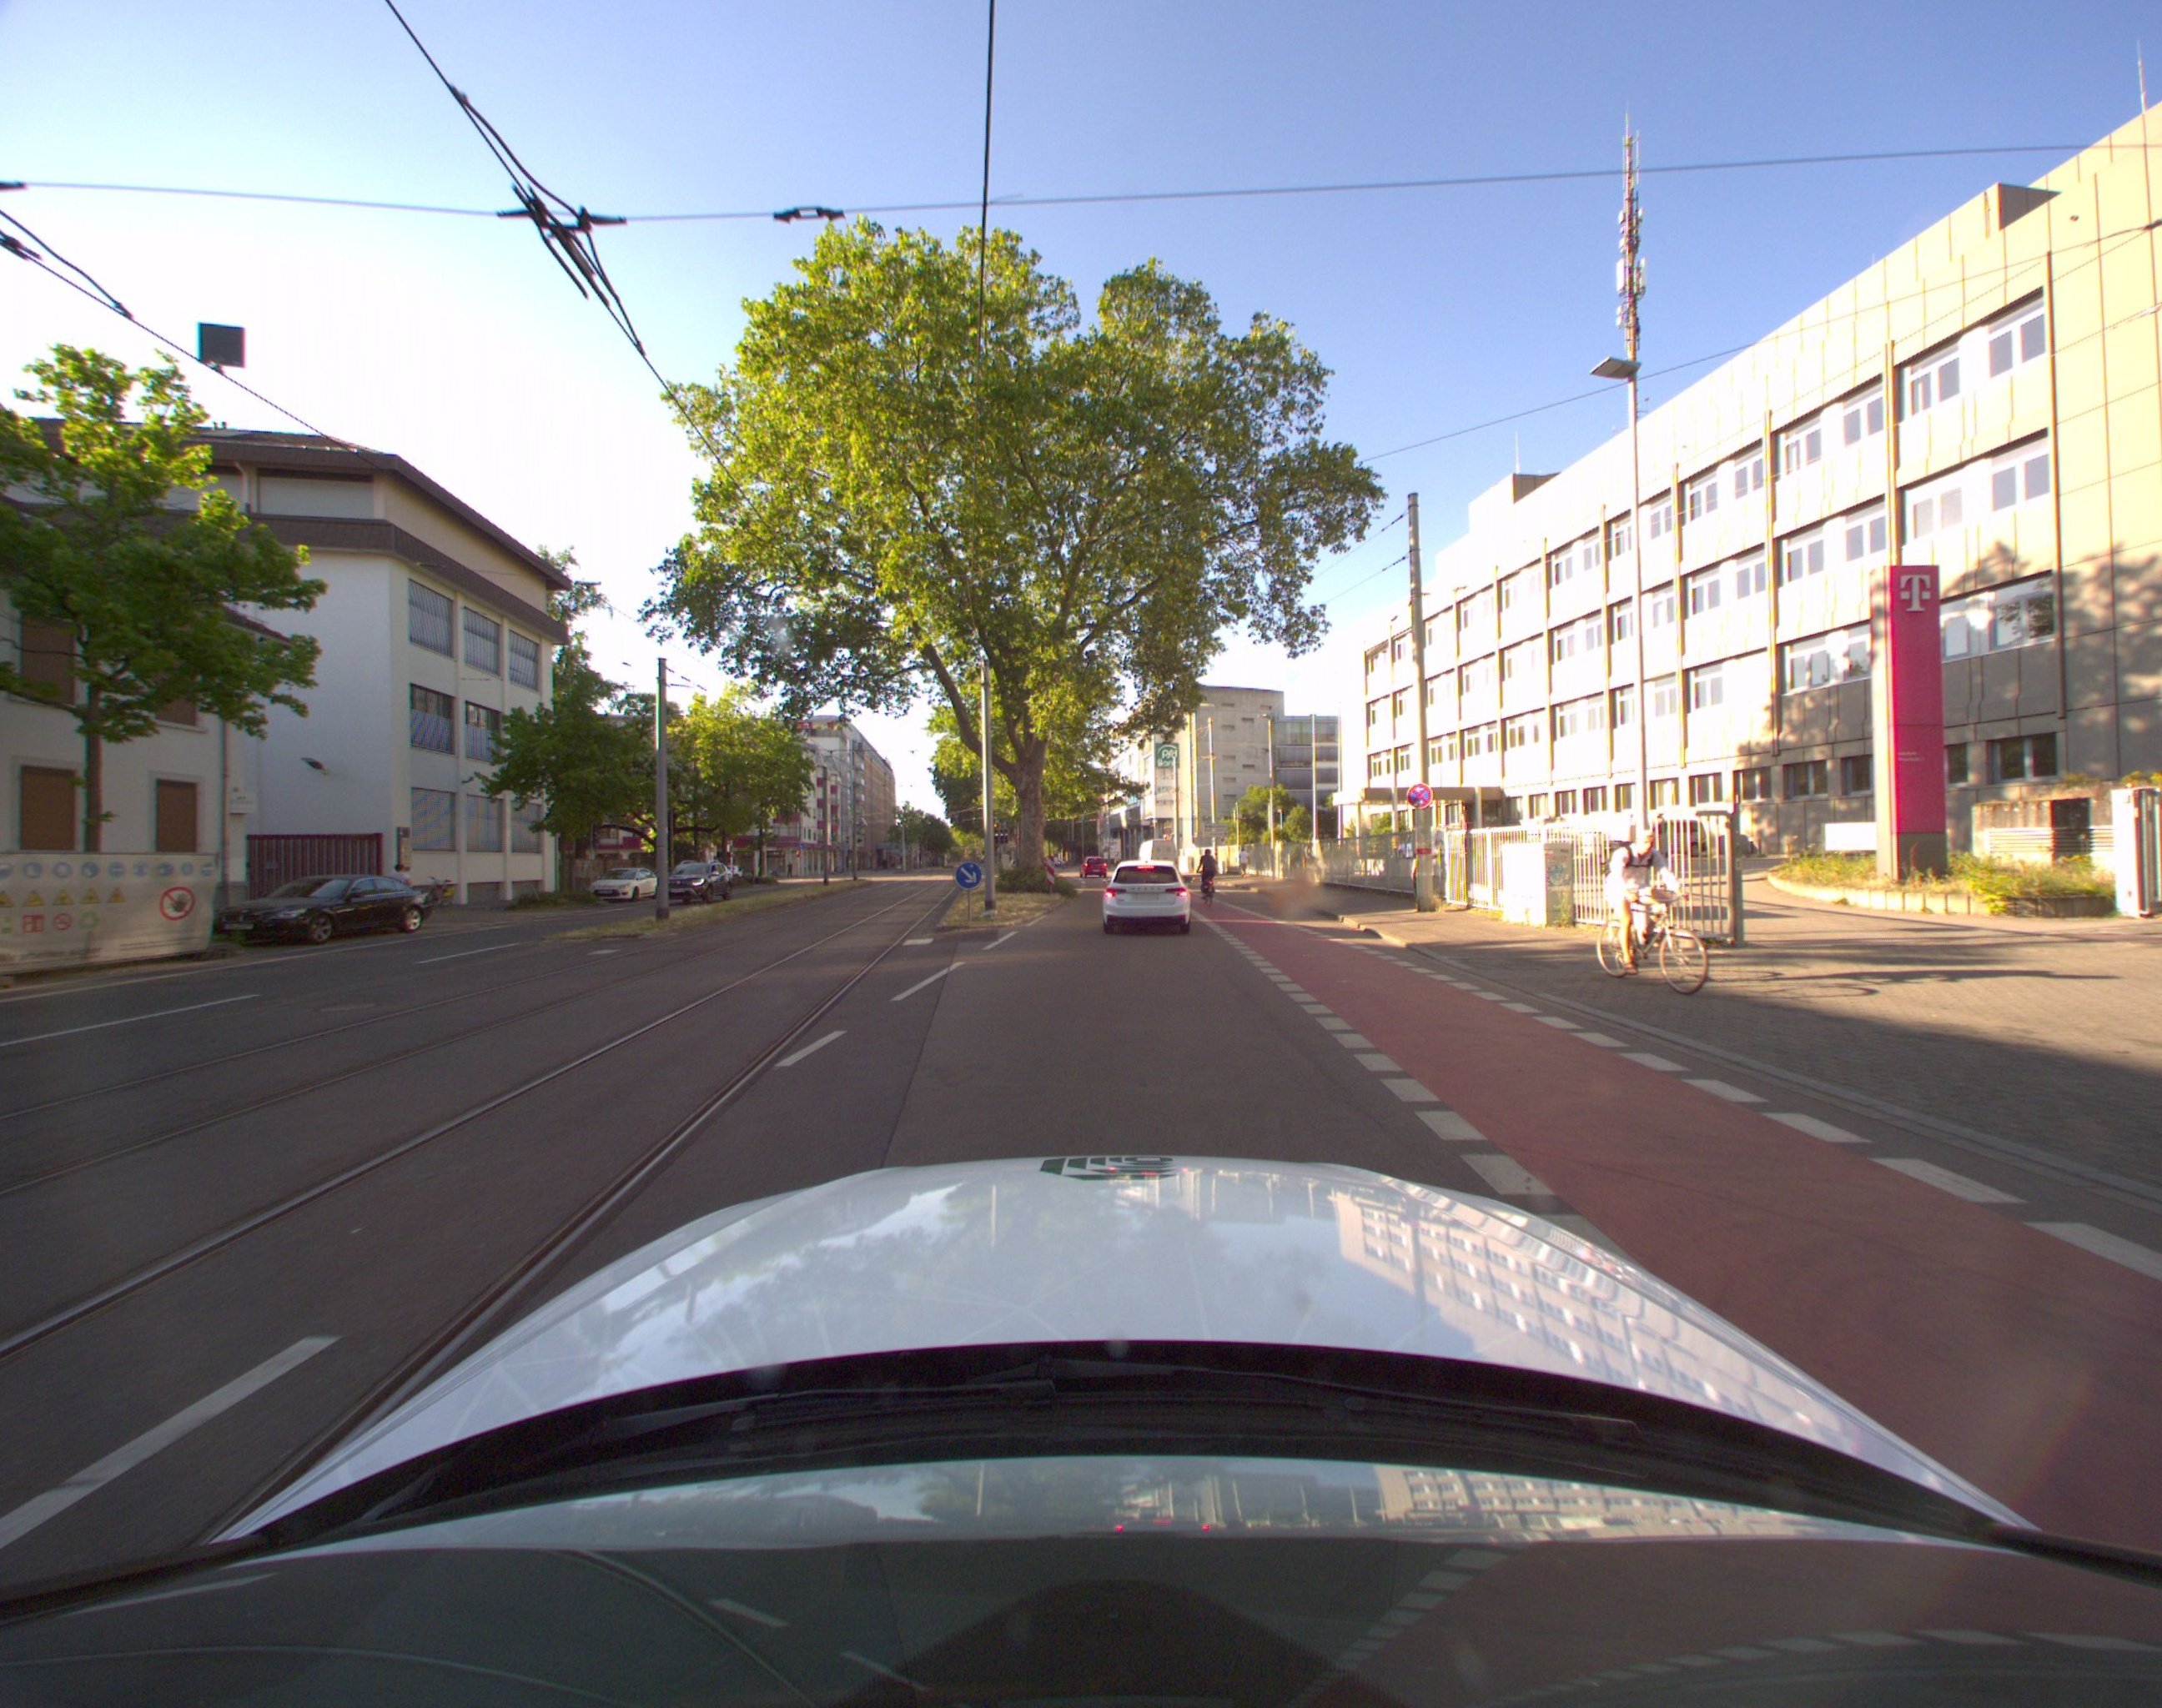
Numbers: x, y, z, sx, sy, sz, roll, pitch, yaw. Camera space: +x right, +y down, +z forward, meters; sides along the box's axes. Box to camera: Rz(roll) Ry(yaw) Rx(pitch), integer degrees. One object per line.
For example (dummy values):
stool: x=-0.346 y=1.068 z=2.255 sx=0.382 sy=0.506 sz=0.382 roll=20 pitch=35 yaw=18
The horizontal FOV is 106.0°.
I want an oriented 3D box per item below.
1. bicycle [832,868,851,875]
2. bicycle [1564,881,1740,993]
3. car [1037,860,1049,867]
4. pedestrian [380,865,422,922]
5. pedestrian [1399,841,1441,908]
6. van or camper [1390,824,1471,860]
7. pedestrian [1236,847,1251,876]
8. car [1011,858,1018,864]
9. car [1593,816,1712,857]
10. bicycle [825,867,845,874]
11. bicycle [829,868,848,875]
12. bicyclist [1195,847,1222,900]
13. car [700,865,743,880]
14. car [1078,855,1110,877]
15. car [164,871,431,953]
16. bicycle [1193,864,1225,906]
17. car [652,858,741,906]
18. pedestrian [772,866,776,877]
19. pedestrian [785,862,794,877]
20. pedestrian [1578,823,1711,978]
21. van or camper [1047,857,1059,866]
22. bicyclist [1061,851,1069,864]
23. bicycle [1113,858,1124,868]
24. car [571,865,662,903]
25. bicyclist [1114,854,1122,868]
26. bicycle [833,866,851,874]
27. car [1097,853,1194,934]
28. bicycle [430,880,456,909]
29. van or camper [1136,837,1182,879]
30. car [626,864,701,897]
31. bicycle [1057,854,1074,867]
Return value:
bicycle: x=-30.083 y=2.169 z=102.245 sx=2.170 sy=0.824 sz=0.526 roll=-2 pitch=0 yaw=-11
bicycle: x=6.379 y=0.878 z=9.249 sx=0.672 sy=1.032 sz=1.902 roll=-3 pitch=0 yaw=2
car: x=-9.137 y=2.282 z=196.963 sx=2.477 sy=1.528 sz=4.418 roll=-2 pitch=0 yaw=-9
pedestrian: x=-19.870 y=1.139 z=23.807 sx=0.634 sy=1.620 sz=0.730 roll=0 pitch=-1 yaw=-6
pedestrian: x=8.762 y=0.518 z=21.089 sx=0.693 sy=1.684 sz=0.931 roll=-1 pitch=0 yaw=1
van or camper: x=20.017 y=-0.636 z=46.913 sx=1.979 sy=1.909 sz=4.986 roll=-2 pitch=0 yaw=-8
pedestrian: x=9.885 y=0.456 z=49.532 sx=0.782 sy=1.748 sz=0.773 roll=-2 pitch=0 yaw=4
car: x=-17.714 y=1.934 z=217.829 sx=1.656 sy=1.607 sz=3.521 roll=-2 pitch=0 yaw=-8
car: x=26.232 y=-0.778 z=37.449 sx=4.249 sy=1.718 sz=1.988 roll=-1 pitch=0 yaw=-8
bicycle: x=-30.222 y=2.070 z=100.096 sx=2.170 sy=0.787 sz=0.638 roll=-2 pitch=0 yaw=-11
bicycle: x=-30.053 y=2.182 z=100.858 sx=2.170 sy=0.787 sz=0.490 roll=-2 pitch=0 yaw=-11
bicyclist: x=4.067 y=0.601 z=25.947 sx=0.740 sy=1.669 sz=0.745 roll=0 pitch=0 yaw=1
car: x=-38.521 y=1.993 z=87.436 sx=3.999 sy=1.464 sz=1.790 roll=-2 pitch=0 yaw=-19
car: x=0.902 y=0.835 z=58.276 sx=1.837 sy=1.489 sz=3.707 roll=-1 pitch=0 yaw=-7
car: x=-17.591 y=1.207 z=18.709 sx=1.993 sy=1.513 sz=4.711 roll=-1 pitch=0 yaw=-8
bicycle: x=4.060 y=0.966 z=25.966 sx=0.741 sy=1.224 sz=2.156 roll=0 pitch=0 yaw=1
car: x=-14.851 y=1.034 z=31.724 sx=1.993 sy=1.689 sz=4.296 roll=-1 pitch=0 yaw=-9
pedestrian: x=-33.885 y=1.924 z=89.871 sx=0.304 sy=1.214 sz=0.317 roll=-2 pitch=0 yaw=-12
pedestrian: x=-31.728 y=1.693 z=88.679 sx=0.709 sy=1.662 sz=1.029 roll=-2 pitch=0 yaw=-12
pedestrian: x=6.352 y=0.496 z=9.248 sx=0.667 sy=1.619 sz=1.102 roll=-3 pitch=0 yaw=1
van or camper: x=-6.325 y=1.693 z=183.408 sx=2.145 sy=1.750 sz=4.416 roll=-2 pitch=0 yaw=-10
bicyclist: x=-1.793 y=0.409 z=93.235 sx=0.610 sy=1.389 sz=0.629 roll=-1 pitch=0 yaw=-39
bicycle: x=4.431 y=1.087 z=97.175 sx=0.792 sy=1.161 sz=2.492 roll=-1 pitch=0 yaw=-9
car: x=-20.081 y=1.259 z=35.442 sx=1.993 sy=1.471 sz=4.391 roll=-1 pitch=0 yaw=-9
bicyclist: x=4.405 y=0.834 z=97.293 sx=0.785 sy=1.635 sz=0.637 roll=-1 pitch=0 yaw=-9
bicycle: x=-30.208 y=2.013 z=102.878 sx=2.170 sy=0.951 sz=0.490 roll=-2 pitch=0 yaw=-11
car: x=1.413 y=0.754 z=17.247 sx=1.793 sy=1.501 sz=3.988 roll=0 pitch=0 yaw=6
bicycle: x=-23.667 y=1.499 z=30.222 sx=0.303 sy=1.002 sz=1.015 roll=-2 pitch=0 yaw=-9
van or camper: x=5.301 y=0.285 z=56.509 sx=2.264 sy=2.733 sz=6.339 roll=1 pitch=0 yaw=-3
car: x=-21.006 y=1.278 z=41.197 sx=1.993 sy=1.476 sz=4.635 roll=-1 pitch=0 yaw=-9
bicycle: x=-1.782 y=0.717 z=93.237 sx=2.005 sy=1.379 sz=0.640 roll=-1 pitch=0 yaw=-40
